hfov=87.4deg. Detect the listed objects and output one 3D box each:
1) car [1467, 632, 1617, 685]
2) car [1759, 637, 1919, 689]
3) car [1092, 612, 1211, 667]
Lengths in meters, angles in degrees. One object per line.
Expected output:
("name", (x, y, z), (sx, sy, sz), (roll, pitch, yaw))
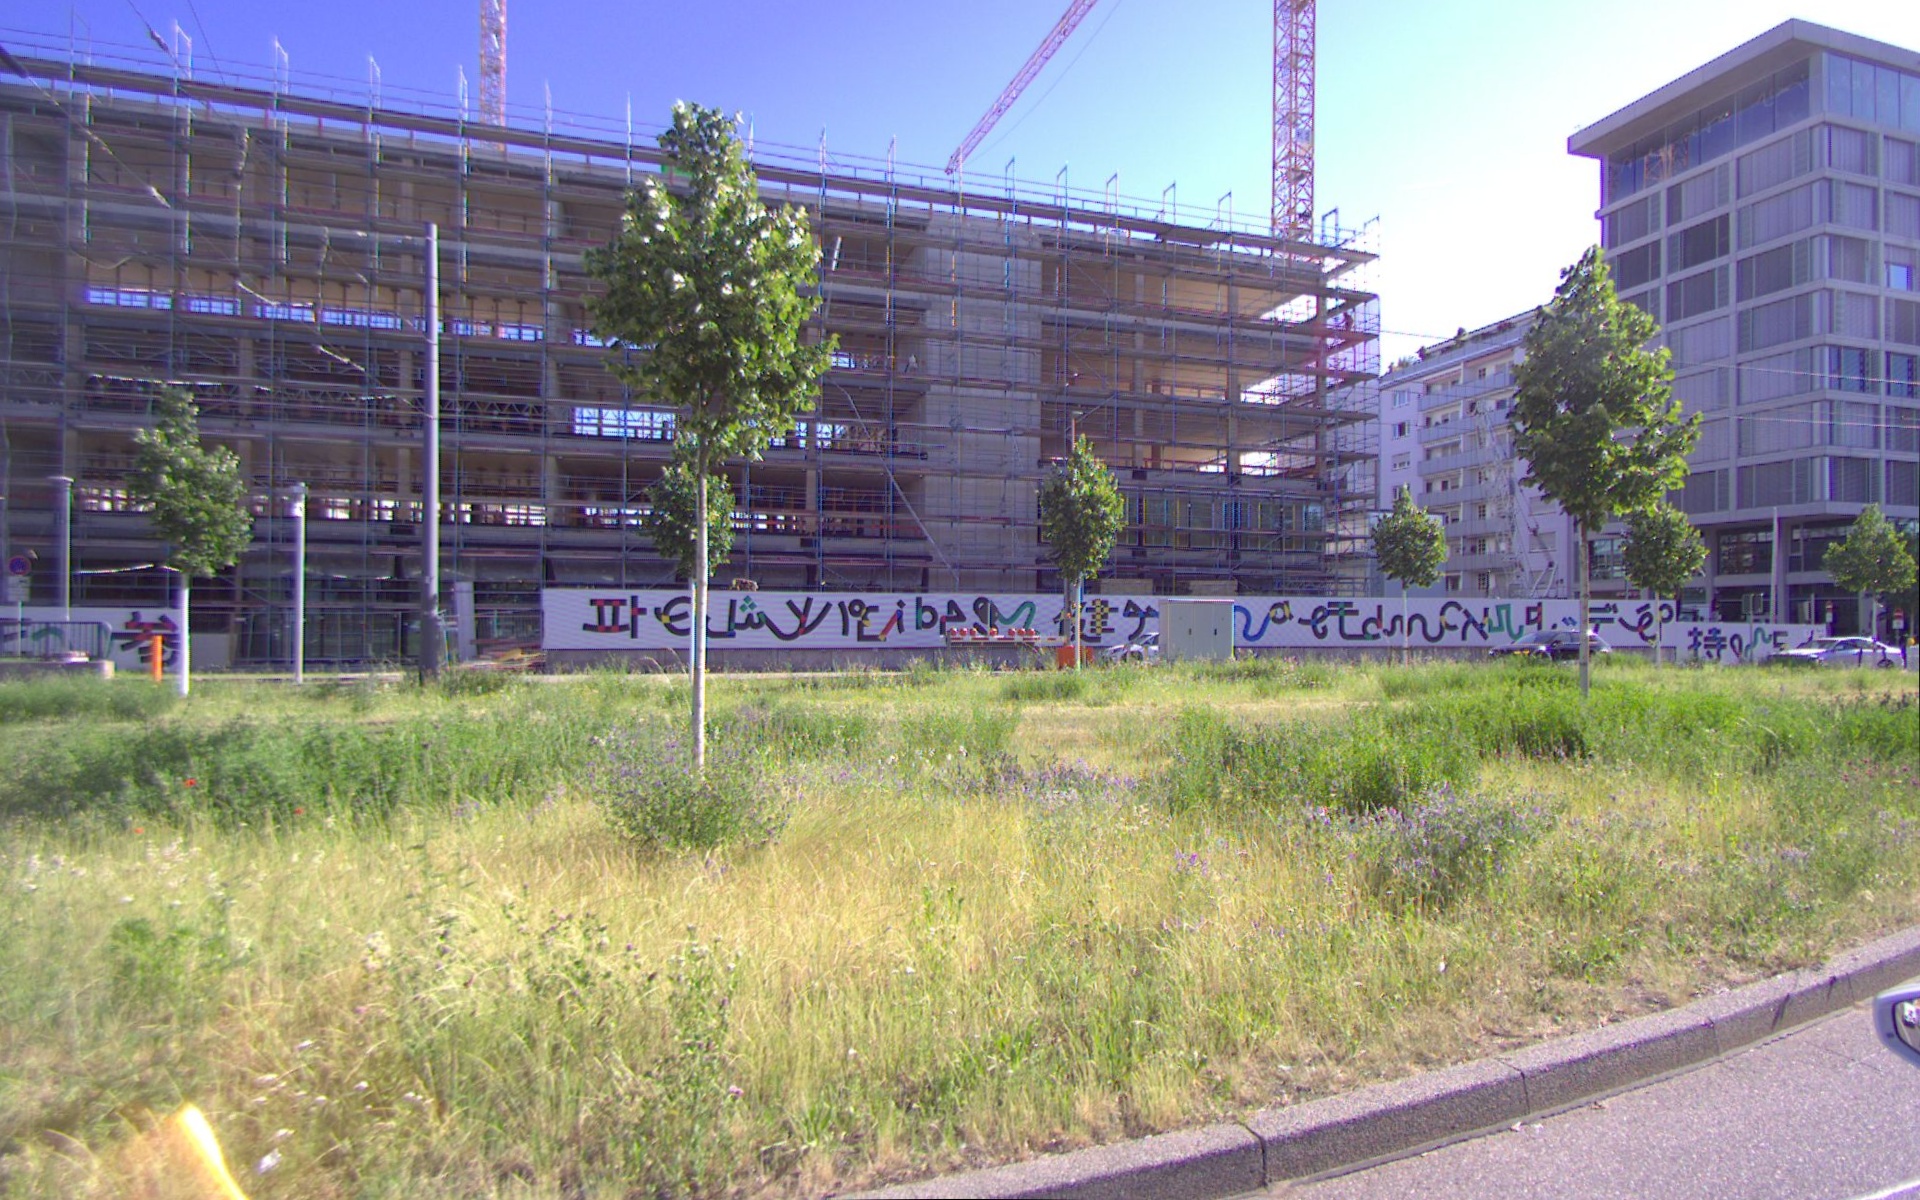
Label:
("car", (21.134, 2.104, 36.560), (4.442, 1.816, 1.998), (1, -1, -7))
("car", (32.983, 2.338, 37.696), (4.438, 1.816, 2.000), (1, -1, -2))
("car", (7.045, 1.459, 37.107), (3.915, 1.943, 1.911), (1, -1, -11))
